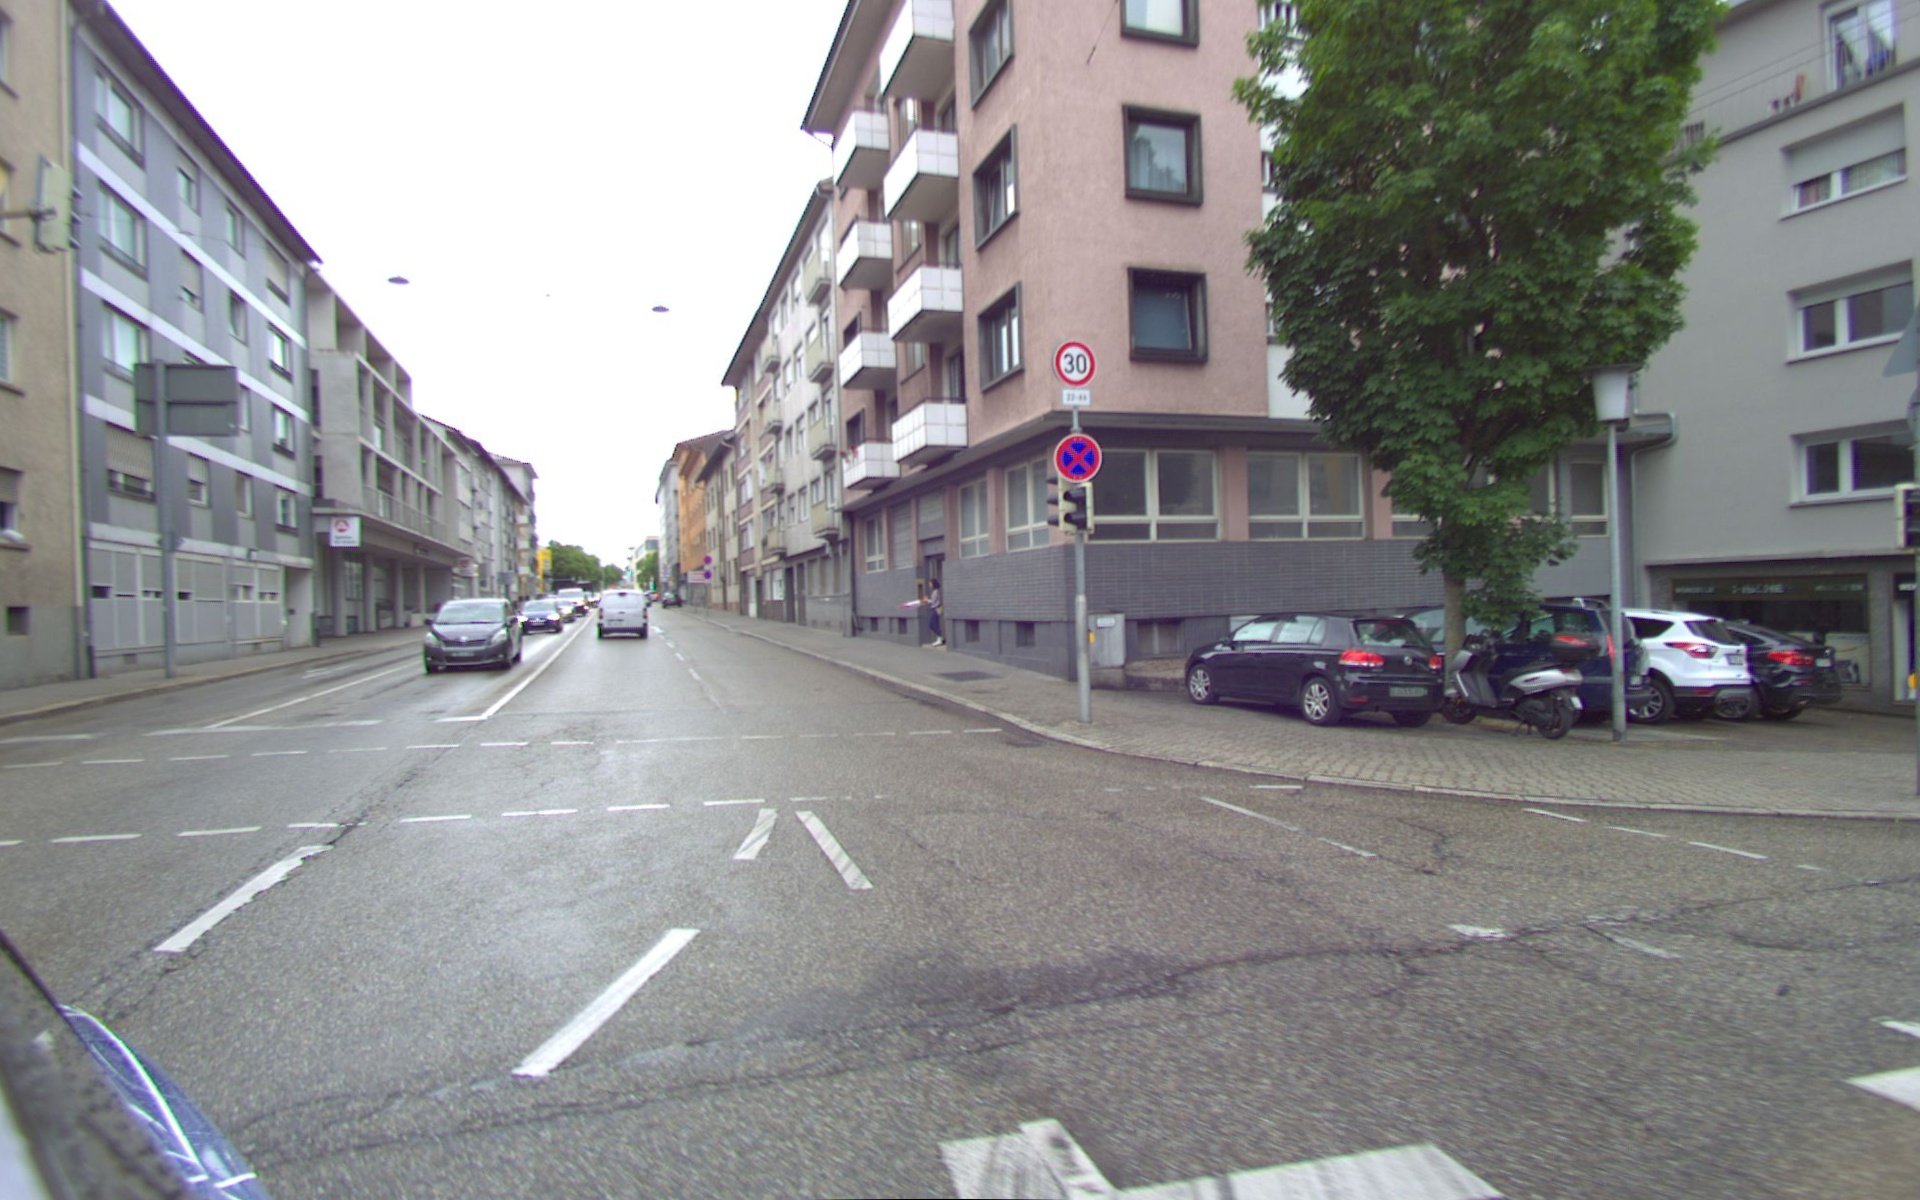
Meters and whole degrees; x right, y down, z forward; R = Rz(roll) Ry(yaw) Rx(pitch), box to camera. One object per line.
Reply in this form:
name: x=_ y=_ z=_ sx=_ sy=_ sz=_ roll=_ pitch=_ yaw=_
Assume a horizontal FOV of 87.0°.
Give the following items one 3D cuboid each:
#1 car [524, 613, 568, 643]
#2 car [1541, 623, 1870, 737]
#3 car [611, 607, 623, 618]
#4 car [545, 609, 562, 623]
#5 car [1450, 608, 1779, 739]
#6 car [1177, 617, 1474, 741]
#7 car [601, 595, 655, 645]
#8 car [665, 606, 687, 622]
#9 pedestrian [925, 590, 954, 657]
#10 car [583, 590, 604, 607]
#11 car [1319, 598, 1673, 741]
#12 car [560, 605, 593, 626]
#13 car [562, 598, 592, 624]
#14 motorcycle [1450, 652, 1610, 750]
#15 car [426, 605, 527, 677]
car: x=-18.276 y=1.209 z=44.622 sx=1.664 sy=1.157 sz=4.013 roll=1 pitch=0 yaw=-24
car: x=12.290 y=1.266 z=16.947 sx=1.829 sy=1.507 sz=4.012 roll=4 pitch=-1 yaw=-32
car: x=-57.255 y=2.125 z=168.933 sx=1.694 sy=1.674 sz=3.690 roll=-2 pitch=1 yaw=-17
car: x=-54.025 y=2.088 z=134.600 sx=1.694 sy=1.674 sz=3.690 roll=-2 pitch=1 yaw=-17
car: x=10.280 y=1.087 z=16.177 sx=1.830 sy=1.807 sz=4.010 roll=4 pitch=-3 yaw=-34
car: x=4.928 y=1.006 z=14.297 sx=1.708 sy=1.370 sz=4.013 roll=2 pitch=0 yaw=-21
car: x=-12.658 y=0.724 z=38.451 sx=1.780 sy=1.728 sz=4.561 roll=2 pitch=-1 yaw=-20
car: x=-27.598 y=1.337 z=98.278 sx=1.679 sy=1.466 sz=3.818 roll=-2 pitch=2 yaw=-22
pedestrian: x=-0.504 y=0.570 z=25.019 sx=0.444 sy=1.569 sz=0.530 roll=-7 pitch=8 yaw=-44
car: x=-38.831 y=-0.190 z=107.295 sx=1.821 sy=1.674 sz=3.690 roll=-2 pitch=1 yaw=-17
car: x=7.942 y=0.950 z=15.339 sx=1.746 sy=1.741 sz=4.354 roll=5 pitch=-2 yaw=-41
car: x=-22.498 y=0.886 z=59.449 sx=1.521 sy=1.076 sz=3.105 roll=-2 pitch=1 yaw=-17
car: x=-26.859 y=0.729 z=71.112 sx=1.694 sy=1.674 sz=3.690 roll=-2 pitch=1 yaw=-17
motorcycle: x=7.097 y=1.229 z=12.704 sx=0.445 sy=1.040 sz=1.800 roll=1 pitch=0 yaw=-27
car: x=-11.225 y=0.895 z=23.727 sx=1.703 sy=1.492 sz=4.085 roll=-1 pitch=0 yaw=-20
